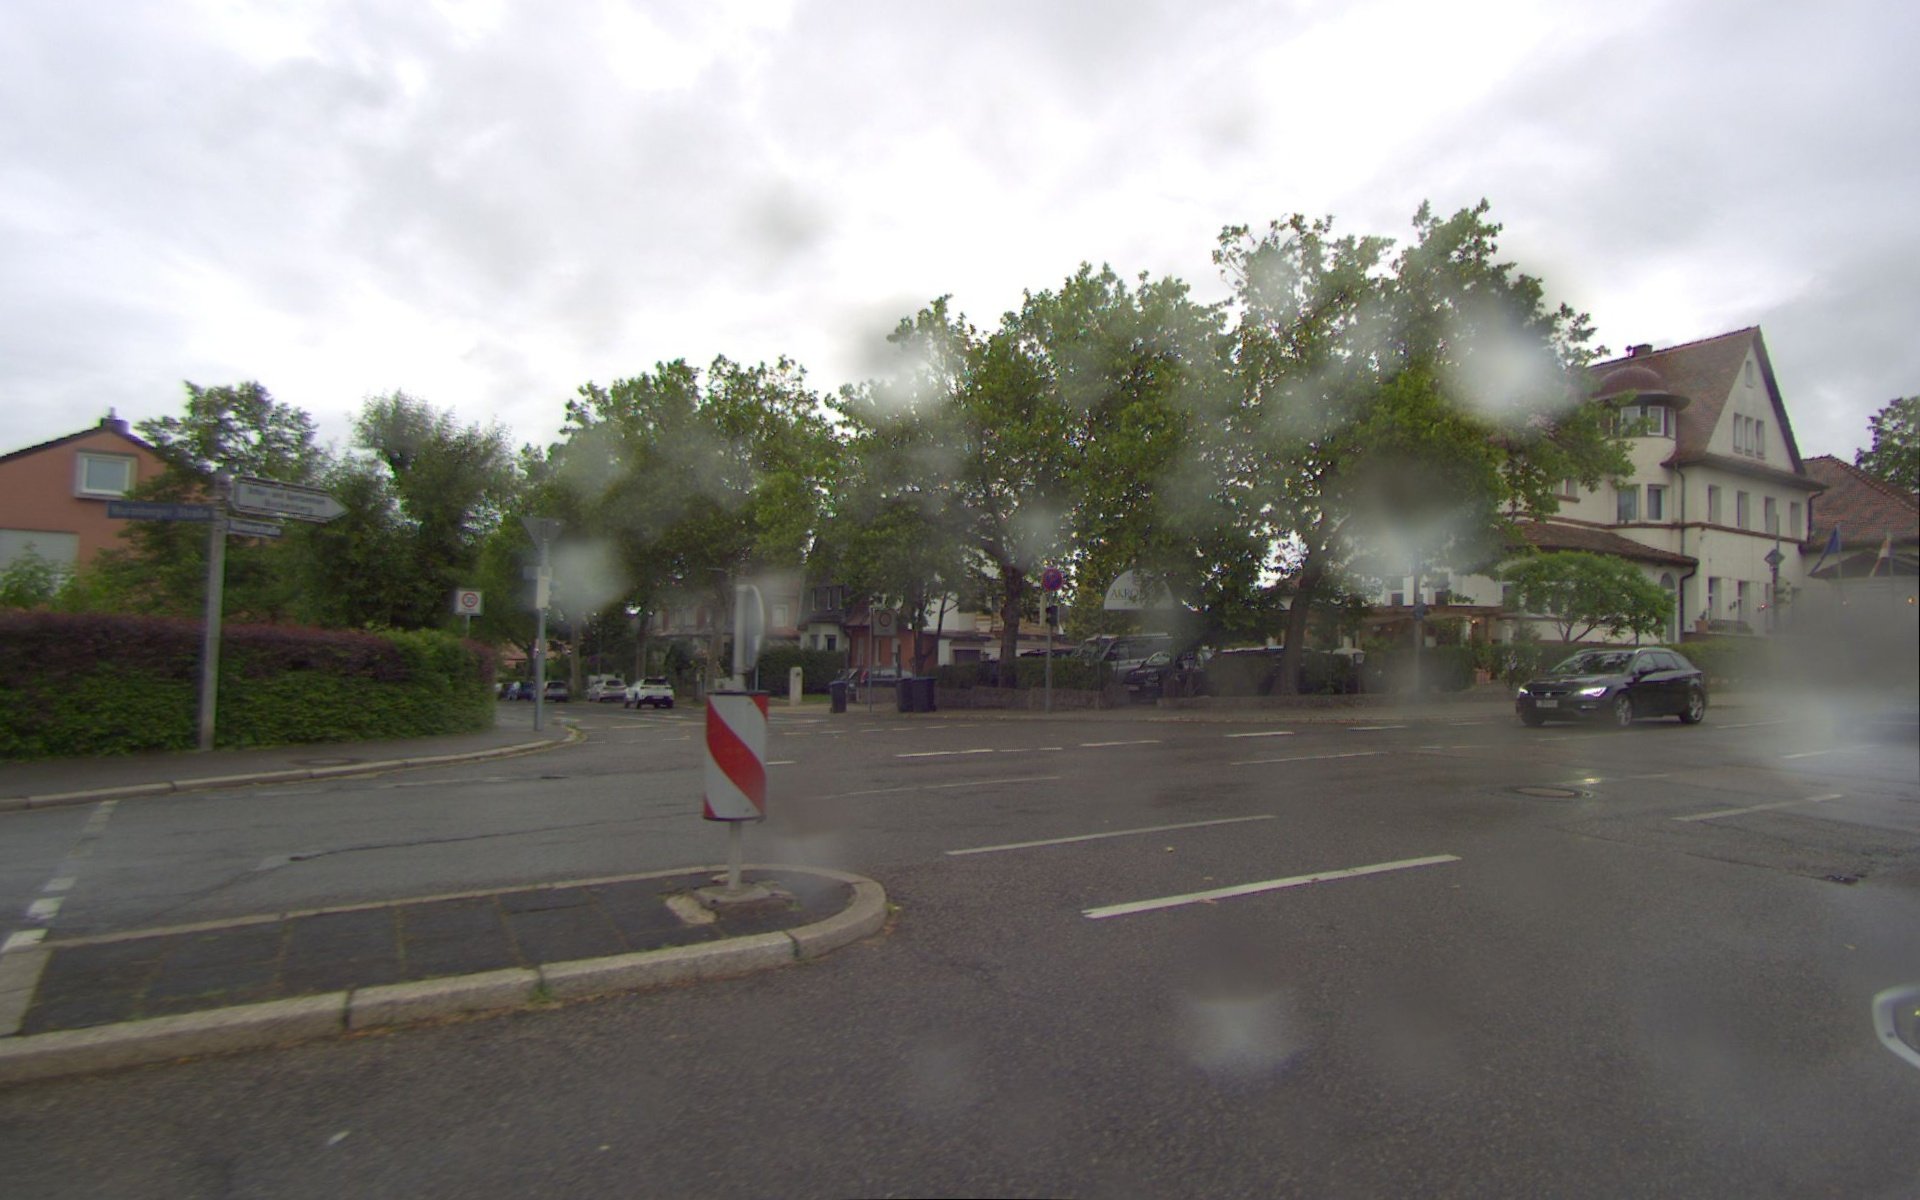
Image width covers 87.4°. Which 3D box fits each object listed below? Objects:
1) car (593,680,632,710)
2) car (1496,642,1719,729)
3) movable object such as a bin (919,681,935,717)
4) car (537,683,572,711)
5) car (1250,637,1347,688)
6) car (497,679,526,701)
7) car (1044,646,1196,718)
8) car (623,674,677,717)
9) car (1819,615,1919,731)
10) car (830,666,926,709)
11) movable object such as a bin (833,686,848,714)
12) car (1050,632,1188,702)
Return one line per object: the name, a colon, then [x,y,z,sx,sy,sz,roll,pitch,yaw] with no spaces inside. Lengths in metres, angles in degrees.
car: [-22.904,6.236,66.194,1.691,1.651,3.654,2,-1,-31]
car: [12.388,1.544,19.160,4.366,1.446,1.898,1,-2,-32]
movable object such as a bin: [-1.019,3.038,30.887,0.404,1.057,0.450,2,-1,-13]
car: [-28.433,6.758,70.427,1.691,1.651,3.654,2,-1,-31]
car: [14.721,2.694,43.666,3.957,2.040,1.982,2,-1,-33]
car: [-36.047,7.220,80.659,1.641,1.436,3.654,2,-1,-31]
car: [4.464,2.206,27.926,3.953,1.573,1.799,-2,1,-31]
car: [-15.463,4.697,50.016,1.691,1.832,3.654,2,-1,-31]
car: [14.674,1.063,15.682,1.877,1.598,4.480,-2,-2,41]
car: [-3.345,3.532,40.969,3.456,1.574,1.799,2,-1,-29]
movable object such as a bin: [-4.137,3.456,34.709,0.446,0.918,0.450,2,-1,-13]
car: [4.920,1.990,30.974,3.953,1.786,1.799,-2,1,-31]
